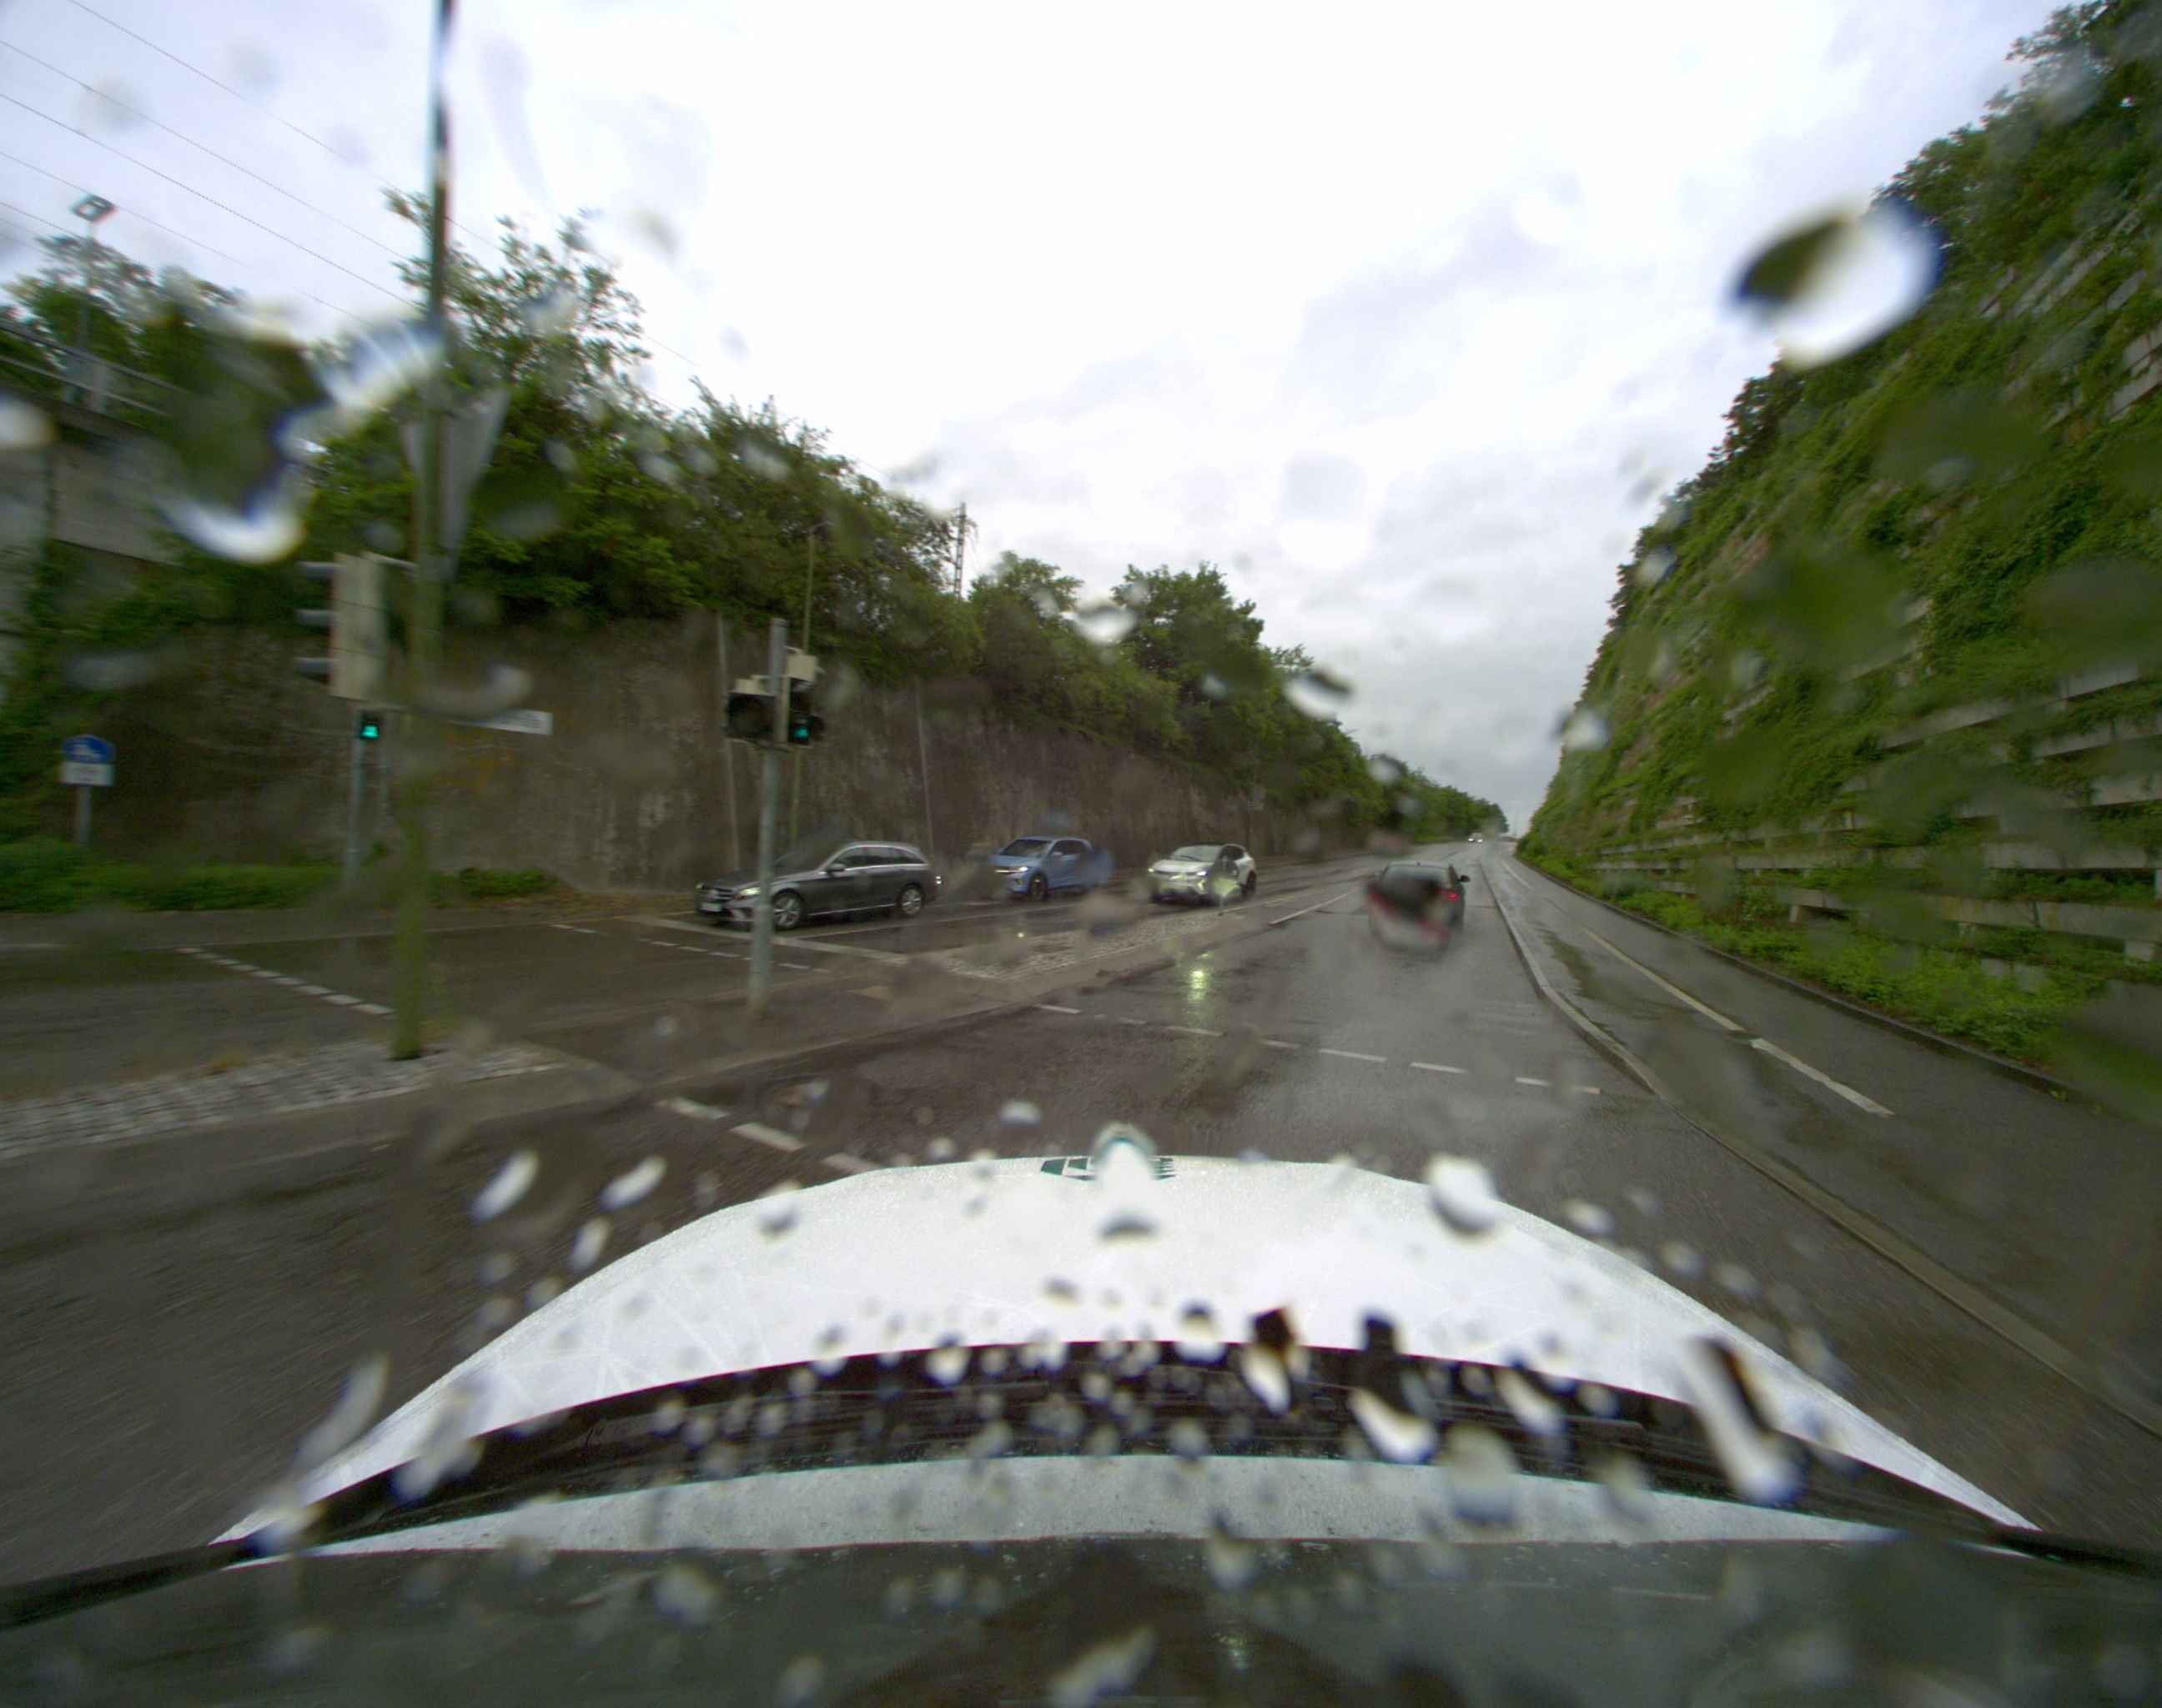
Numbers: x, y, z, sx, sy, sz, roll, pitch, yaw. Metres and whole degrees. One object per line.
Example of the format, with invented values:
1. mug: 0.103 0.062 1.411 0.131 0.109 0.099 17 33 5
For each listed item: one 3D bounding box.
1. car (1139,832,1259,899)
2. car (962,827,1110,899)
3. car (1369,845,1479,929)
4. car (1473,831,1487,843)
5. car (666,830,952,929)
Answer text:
1. car: 3.243 0.240 21.748 1.851 1.601 4.025 0 1 29
2. car: -1.064 0.194 21.109 1.797 1.657 4.076 0 0 32
3. car: 7.224 0.569 16.979 1.875 1.492 4.232 0 1 25
4. car: 62.168 -2.643 126.936 1.717 1.617 4.024 4 2 27
5. car: -4.719 0.368 14.903 1.974 1.503 4.759 0 0 33
